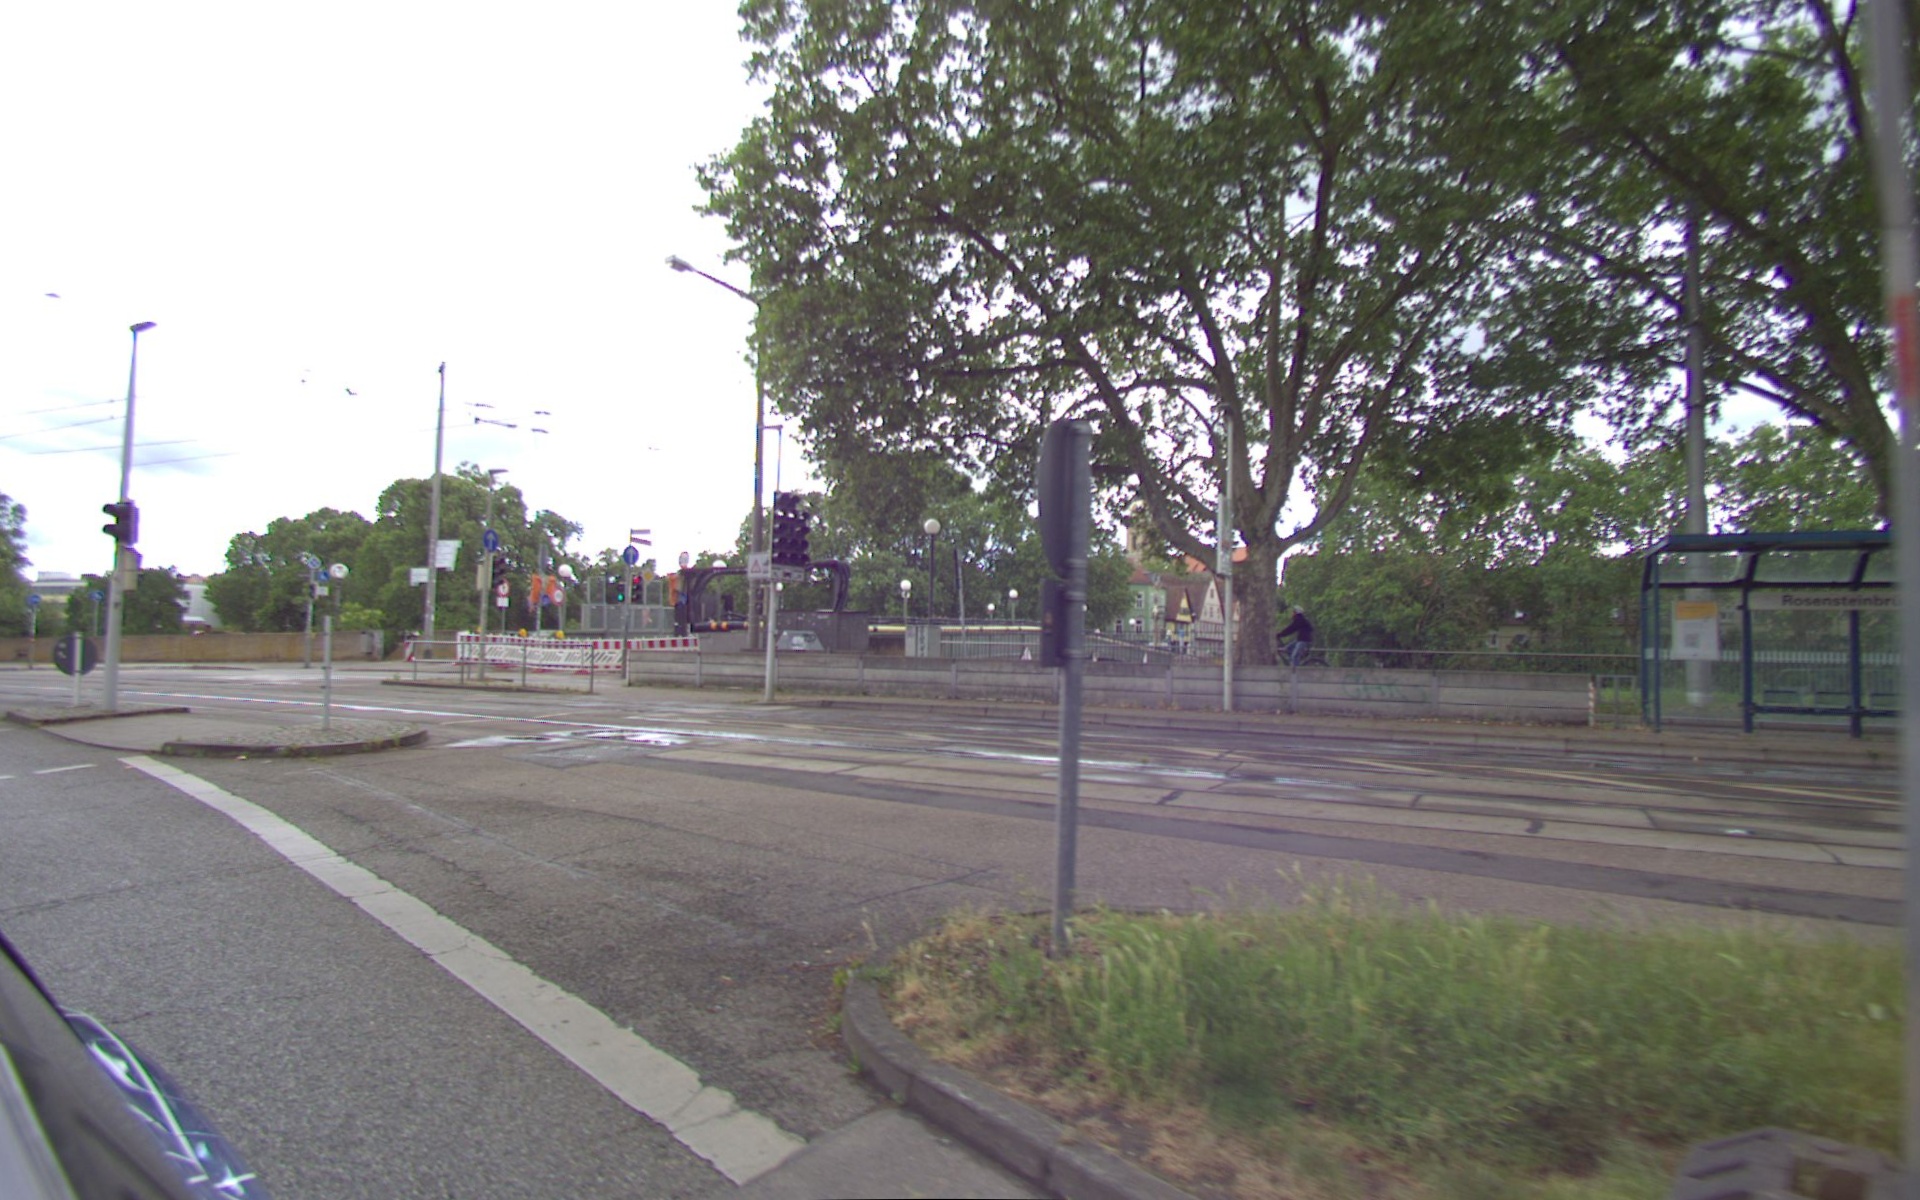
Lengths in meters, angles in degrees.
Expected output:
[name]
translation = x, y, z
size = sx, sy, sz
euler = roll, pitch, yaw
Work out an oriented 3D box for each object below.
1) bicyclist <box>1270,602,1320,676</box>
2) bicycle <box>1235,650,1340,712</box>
[bicyclist]
translation = 7.846, 0.895, 23.692
size = 1.004, 1.663, 0.636
euler = 1, 1, 30
[bicycle]
translation = 7.689, 1.870, 23.777
size = 2.256, 1.287, 0.684
euler = 1, 1, 31
